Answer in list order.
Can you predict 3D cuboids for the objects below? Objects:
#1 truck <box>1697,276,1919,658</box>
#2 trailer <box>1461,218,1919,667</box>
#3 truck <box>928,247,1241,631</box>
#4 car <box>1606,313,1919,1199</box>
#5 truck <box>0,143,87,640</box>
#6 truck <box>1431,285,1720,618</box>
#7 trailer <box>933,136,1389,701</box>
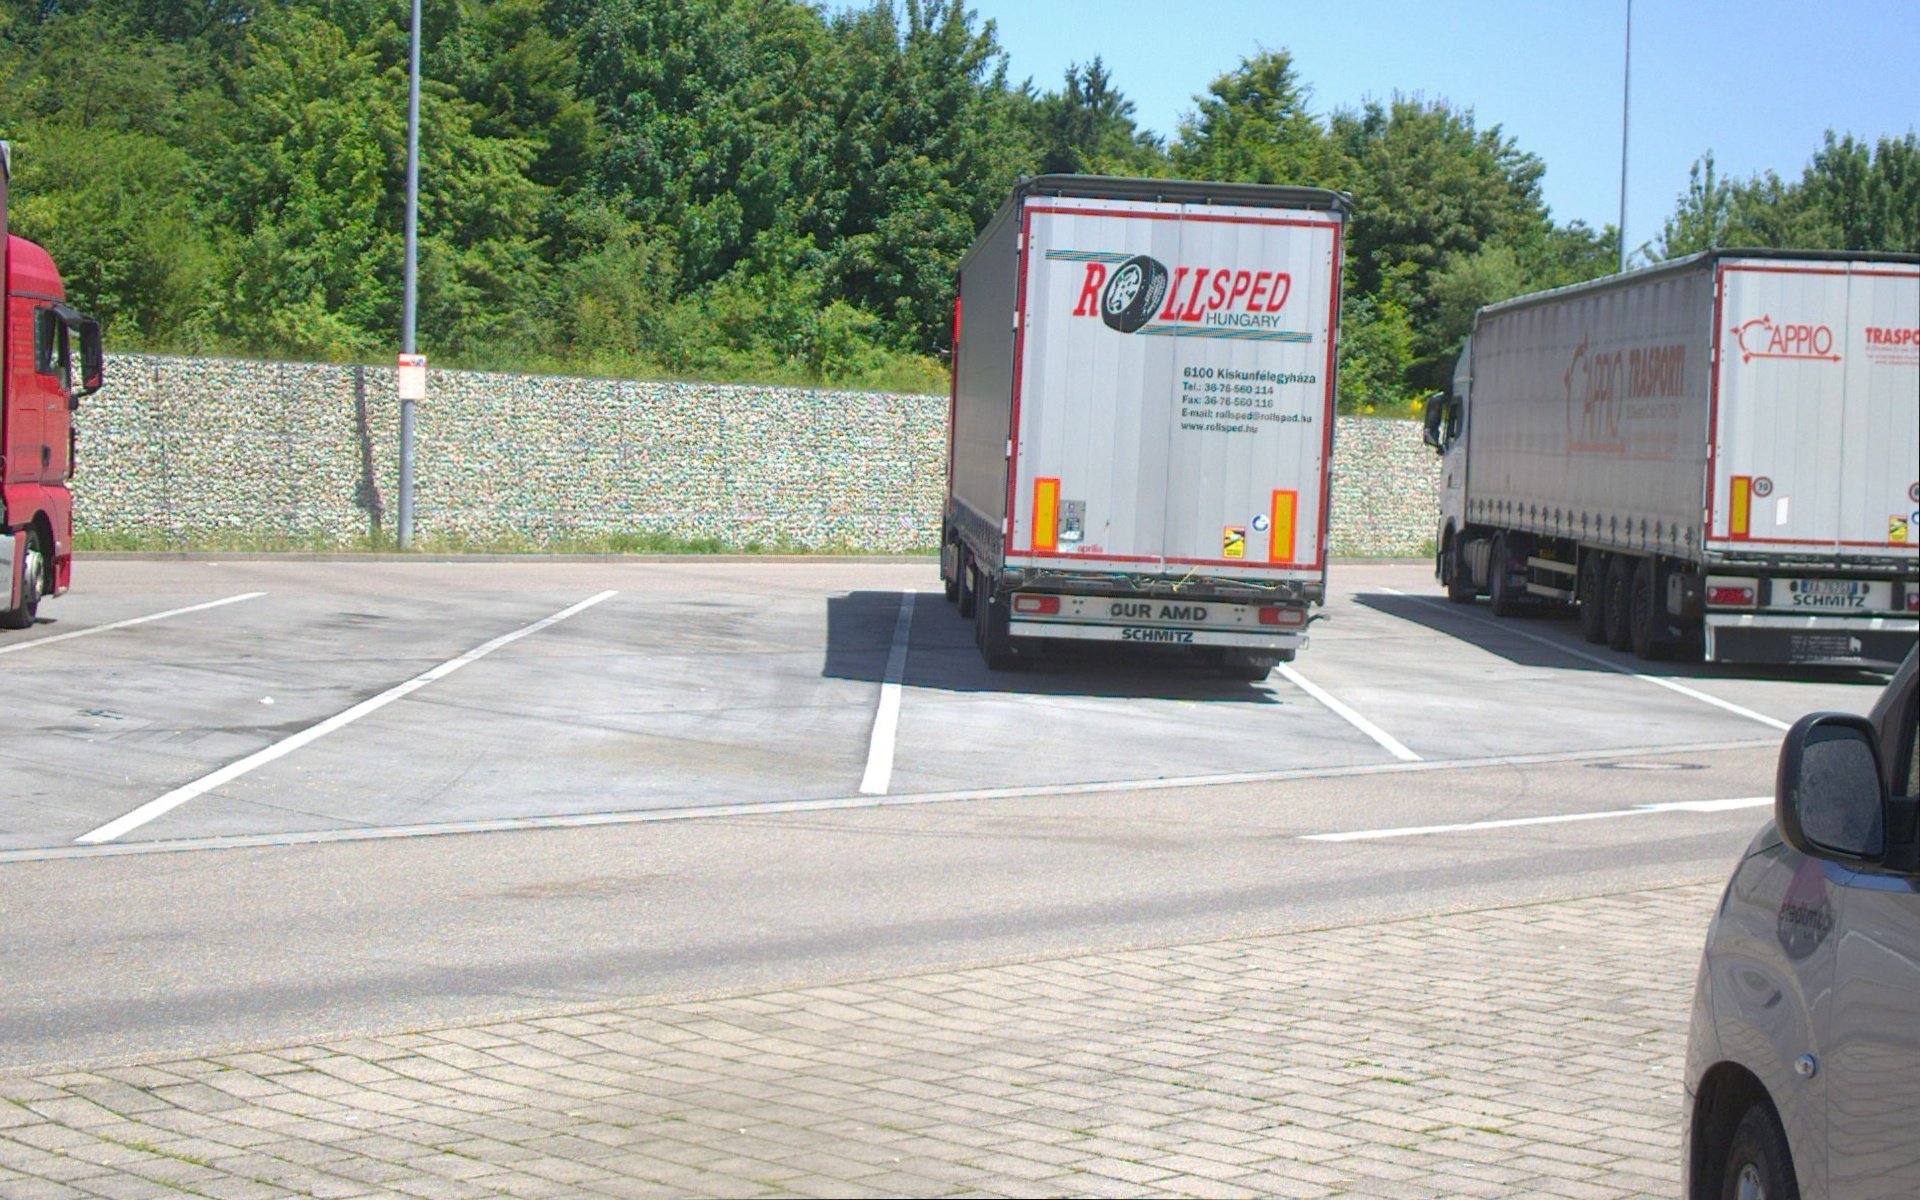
[{"bbox_3d":[11.735,-1.474,39.813,2.904,4.110,14.528,3,2,-1],"label":"truck"},{"bbox_3d":[8.147,-1.680,38.478,2.876,4.110,13.572,1,2,-1],"label":"trailer"},{"bbox_3d":[1.268,-1.854,39.414,3.026,3.915,6.847,2,3,-2],"label":"truck"},{"bbox_3d":[2.137,0.544,3.802,1.825,1.747,4.001,1,2,-4],"label":"car"},{"bbox_3d":[-9.227,-1.700,27.664,2.743,4.067,6.830,1,2,-1],"label":"truck"},{"bbox_3d":[8.032,-1.937,45.478,2.757,4.110,5.285,1,2,-1],"label":"truck"},{"bbox_3d":[1.483,-1.695,32.645,3.069,4.213,12.810,2,3,-2],"label":"trailer"}]
